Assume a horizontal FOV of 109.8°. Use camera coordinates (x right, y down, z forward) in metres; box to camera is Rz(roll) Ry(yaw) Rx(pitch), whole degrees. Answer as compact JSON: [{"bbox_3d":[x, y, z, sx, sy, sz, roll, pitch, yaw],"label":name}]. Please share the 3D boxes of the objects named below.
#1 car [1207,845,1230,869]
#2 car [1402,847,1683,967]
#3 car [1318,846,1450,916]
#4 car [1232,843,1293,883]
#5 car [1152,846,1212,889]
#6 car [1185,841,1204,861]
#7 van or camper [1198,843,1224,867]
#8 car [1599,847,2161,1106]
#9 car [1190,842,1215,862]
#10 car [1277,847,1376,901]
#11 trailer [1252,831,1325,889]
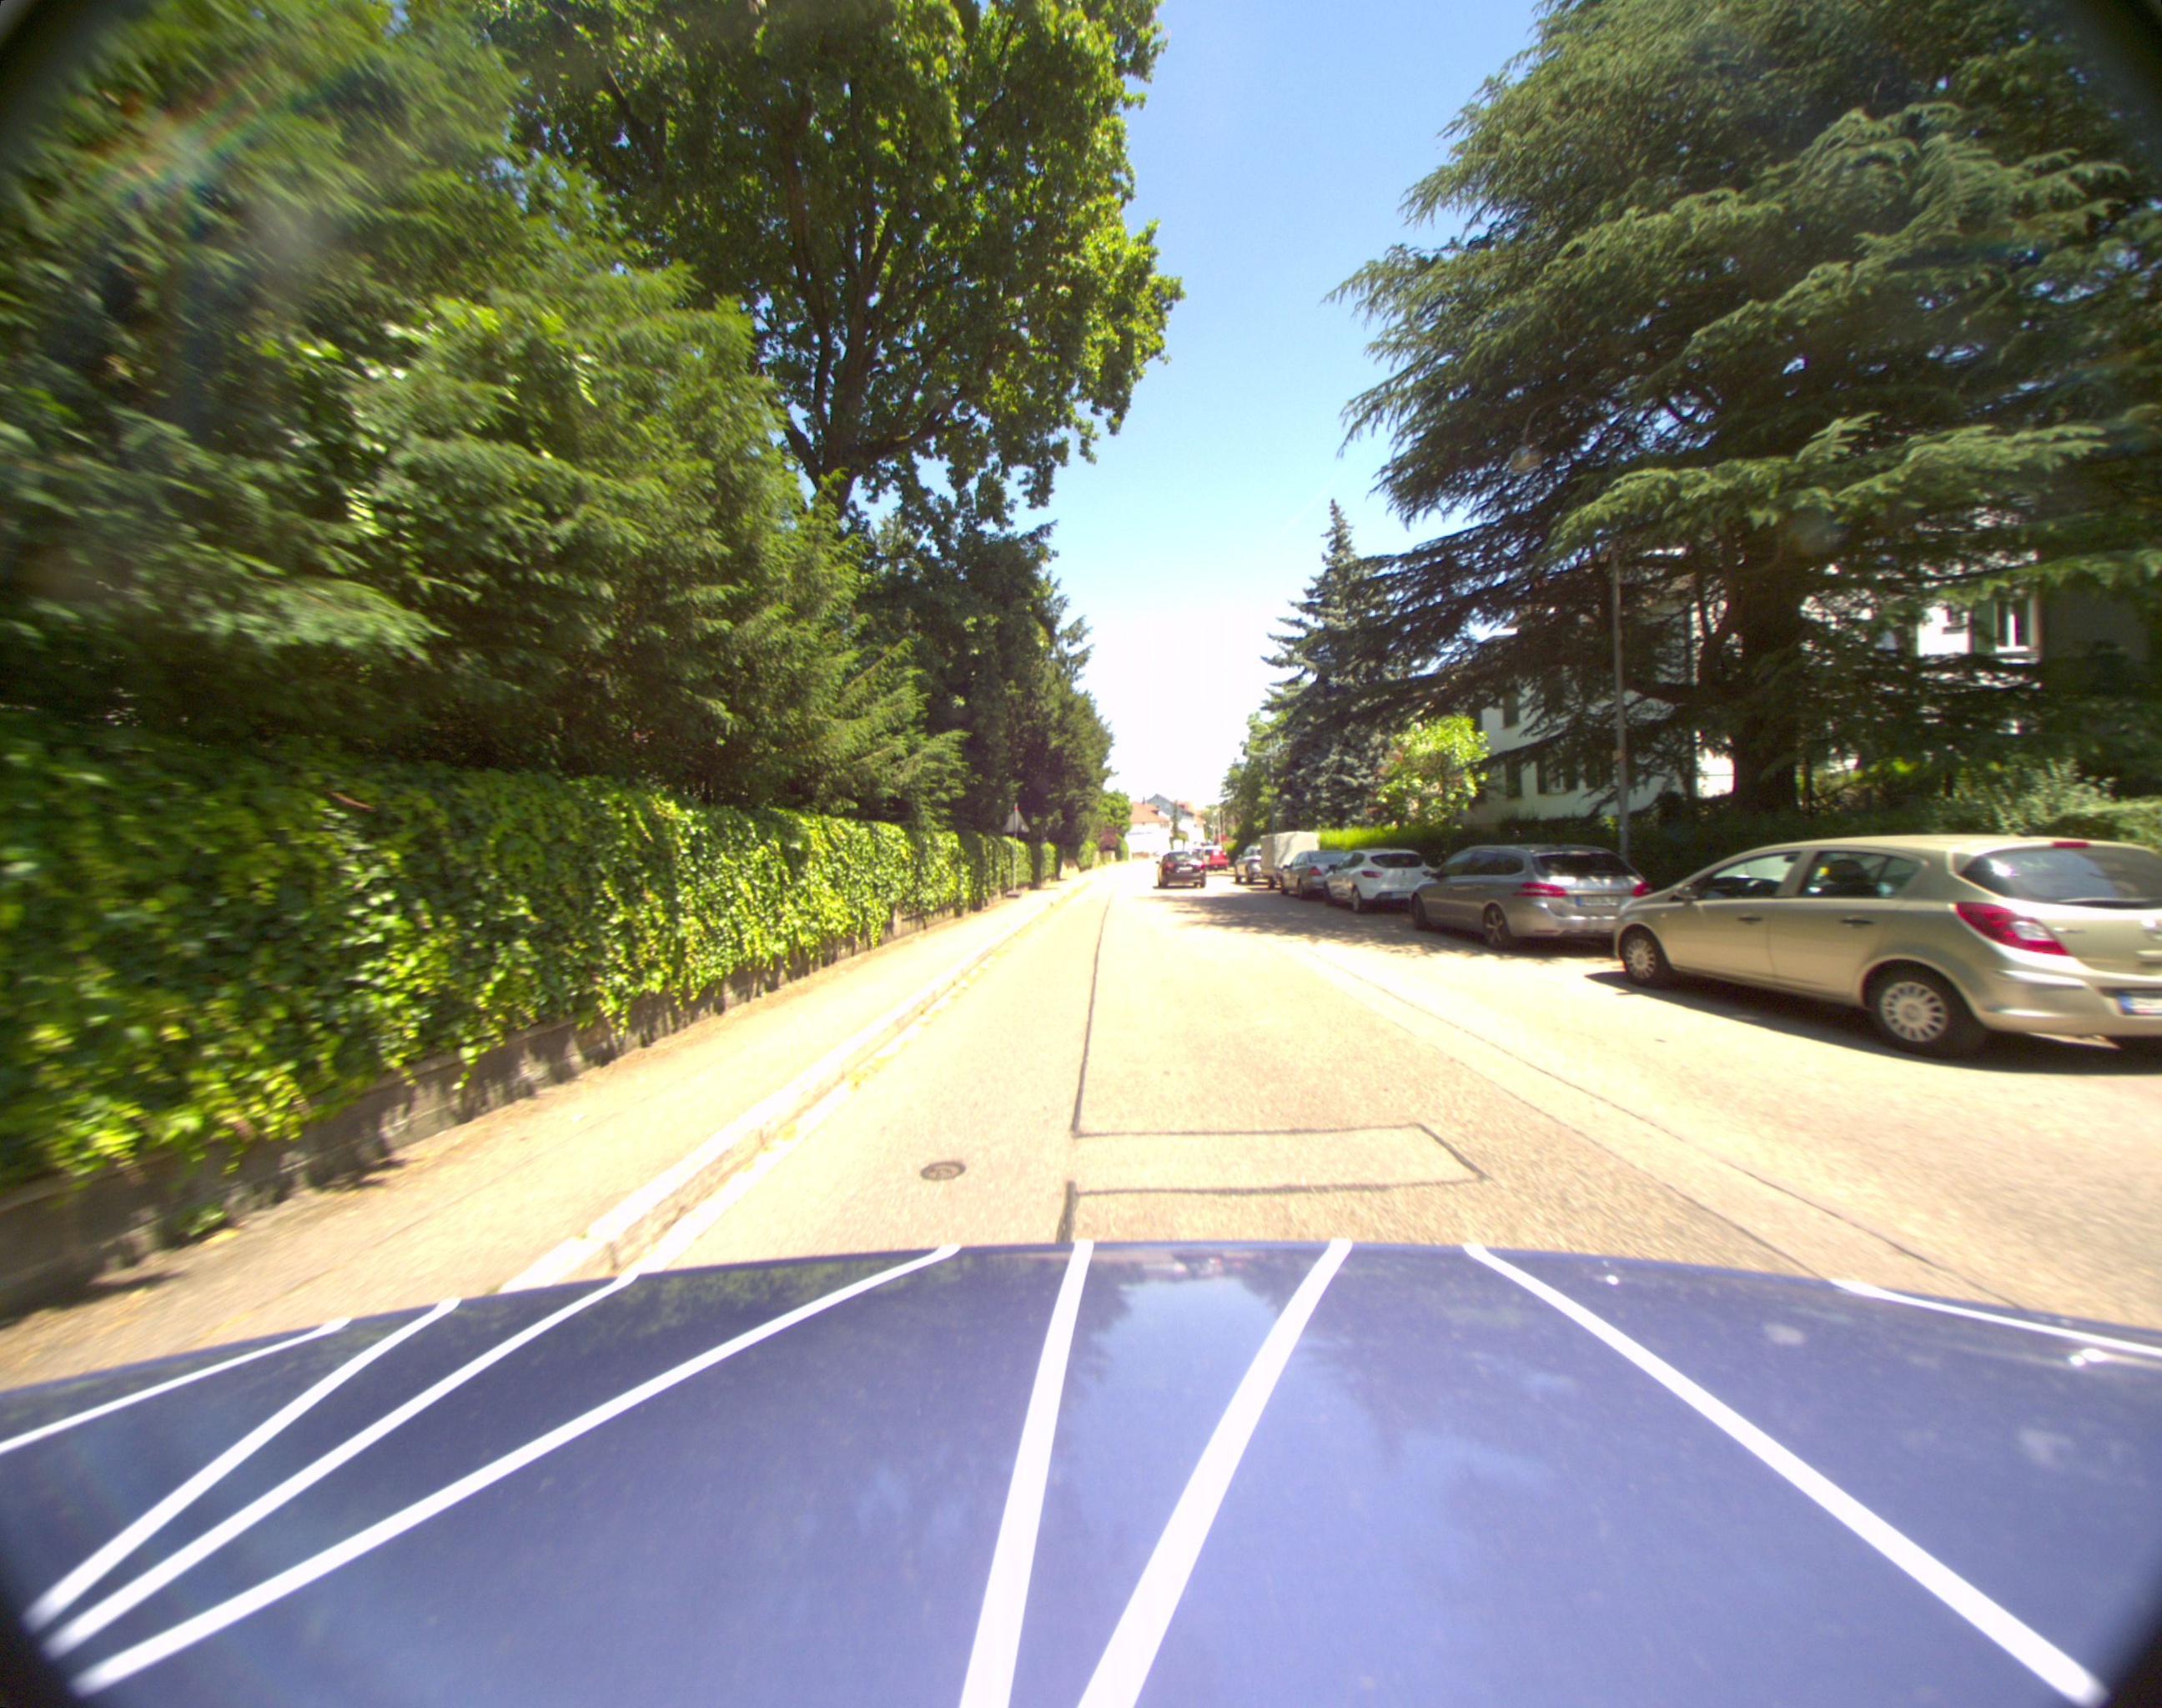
[{"bbox_3d":[9.416,0.205,52.182,1.308,1.568,2.322,-2,1,5],"label":"car"},{"bbox_3d":[6.552,0.636,11.447,1.800,1.434,4.273,-1,1,3],"label":"car"},{"bbox_3d":[7.007,0.557,18.010,1.800,1.434,3.897,-1,1,4],"label":"car"},{"bbox_3d":[7.789,0.336,32.943,1.772,1.610,4.549,-1,1,3],"label":"car"},{"bbox_3d":[4.100,0.505,31.440,1.904,1.565,4.141,-2,1,1],"label":"car"},{"bbox_3d":[11.976,-0.359,80.355,1.892,2.103,4.000,0,1,6],"label":"car"},{"bbox_3d":[9.758,0.059,57.114,1.583,1.760,3.890,-2,0,5],"label":"van or camper"},{"bbox_3d":[6.369,0.677,6.174,1.801,1.434,3.785,-1,1,1],"label":"car"},{"bbox_3d":[10.645,-0.192,66.756,1.892,1.749,3.613,0,1,6],"label":"car"},{"bbox_3d":[7.237,0.518,22.897,1.800,1.434,4.477,-1,1,4],"label":"car"},{"bbox_3d":[7.728,0.190,28.645,1.818,2.021,4.000,0,1,3],"label":"trailer"}]
